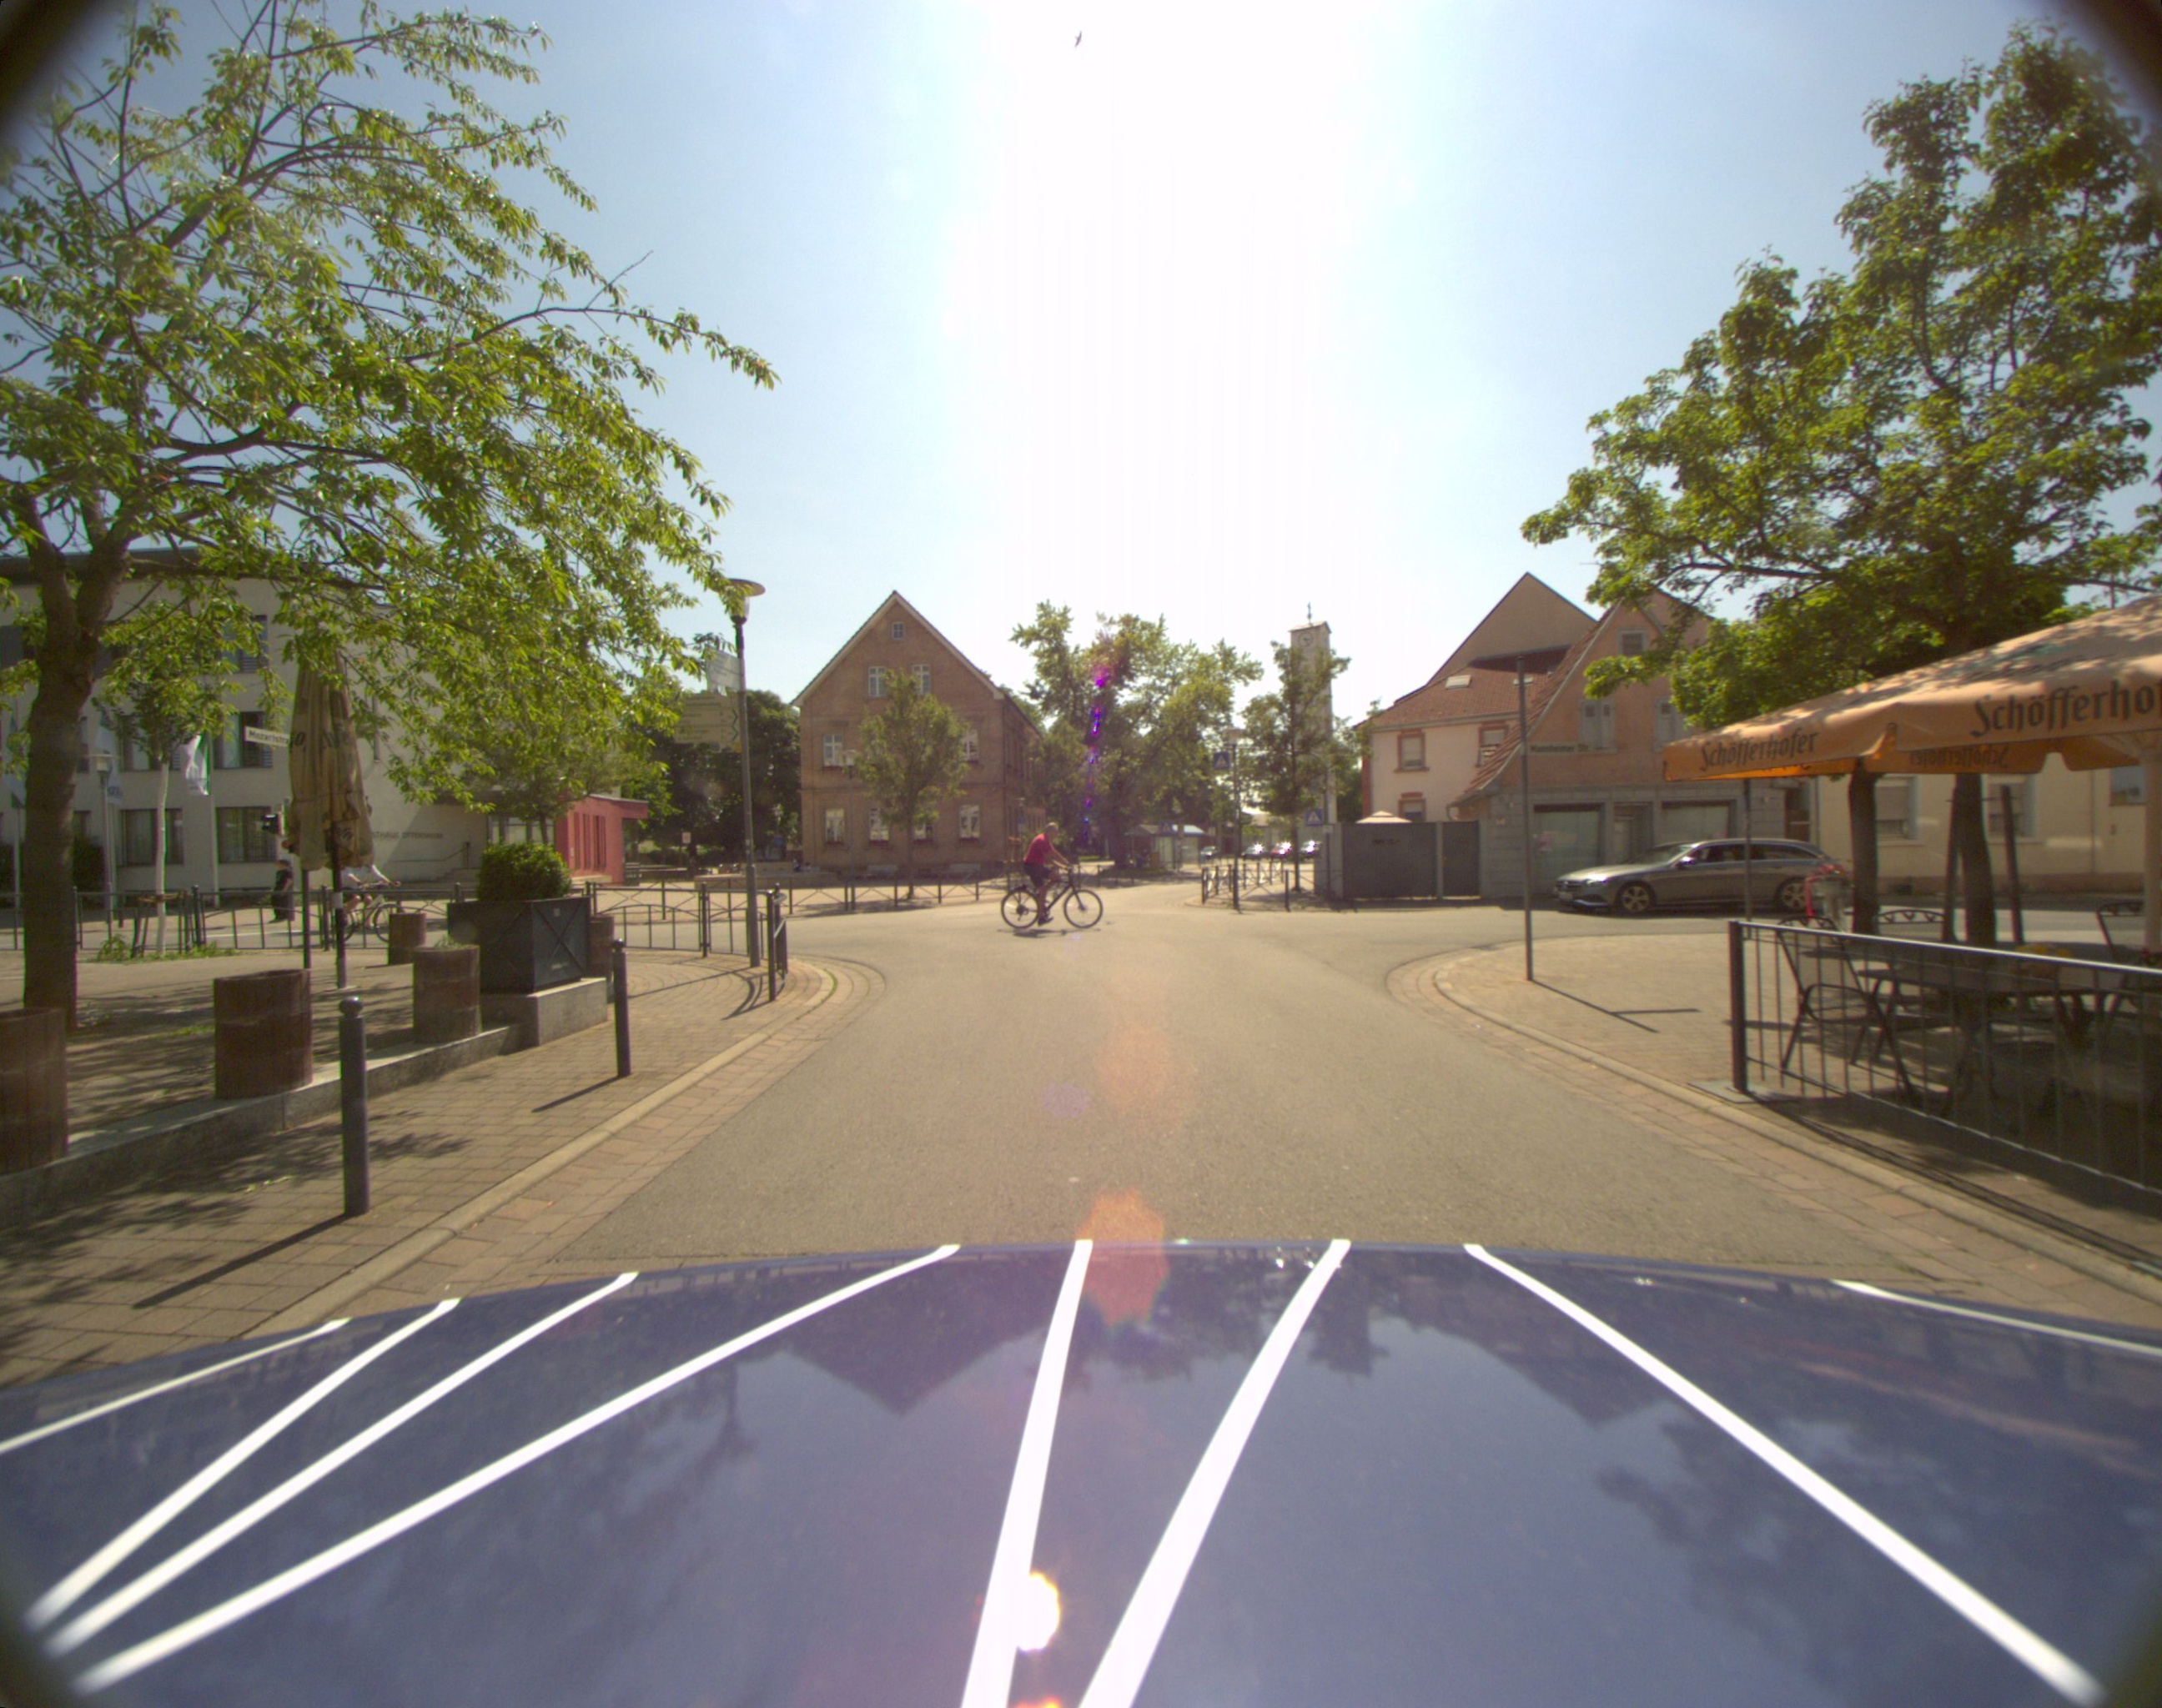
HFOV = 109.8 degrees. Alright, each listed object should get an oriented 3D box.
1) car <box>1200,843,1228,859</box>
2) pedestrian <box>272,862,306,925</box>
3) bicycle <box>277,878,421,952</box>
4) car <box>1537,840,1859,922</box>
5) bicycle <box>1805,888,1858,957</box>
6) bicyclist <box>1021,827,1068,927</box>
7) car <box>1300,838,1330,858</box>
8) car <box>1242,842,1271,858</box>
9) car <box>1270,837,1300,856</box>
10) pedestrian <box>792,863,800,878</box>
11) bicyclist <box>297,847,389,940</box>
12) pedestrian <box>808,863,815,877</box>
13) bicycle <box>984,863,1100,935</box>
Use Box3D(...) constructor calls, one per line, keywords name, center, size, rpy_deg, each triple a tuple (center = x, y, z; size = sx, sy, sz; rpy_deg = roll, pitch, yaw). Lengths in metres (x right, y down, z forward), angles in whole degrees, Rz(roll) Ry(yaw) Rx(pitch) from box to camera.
Box3D(name="car", center=(13.474, -0.310, 76.581), size=(1.995, 1.607, 4.006), rpy_deg=(-1, 1, 22))
Box3D(name="pedestrian", center=(-20.781, 1.015, 19.930), size=(0.555, 1.609, 0.551), rpy_deg=(1, 1, 39))
Box3D(name="bicycle", center=(-12.798, 1.059, 13.318), size=(1.798, 1.183, 0.690), rpy_deg=(-1, 3, 1))
Box3D(name="car", center=(12.352, 0.524, 15.516), size=(4.838, 1.473, 1.916), rpy_deg=(-1, 0, 5))
Box3D(name="bicycle", center=(10.742, 0.951, 10.901), size=(0.463, 0.891, 1.417), rpy_deg=(-2, -1, 42))
Box3D(name="bicyclist", center=(-0.626, 0.387, 13.329), size=(0.759, 1.707, 0.703), rpy_deg=(0, 2, 2))
Box3D(name="car", center=(22.191, -0.579, 72.081), size=(1.777, 1.783, 4.007), rpy_deg=(0, 1, 32))
Box3D(name="car", center=(17.219, -0.371, 74.551), size=(1.646, 1.459, 3.786), rpy_deg=(-1, 0, 31))
Box3D(name="car", center=(19.809, -0.714, 73.700), size=(1.777, 1.783, 4.008), rpy_deg=(-1, 0, 31))
Box3D(name="pedestrian", center=(-15.008, 0.863, 40.016), size=(0.367, 0.813, 0.361), rpy_deg=(-1, 0, -12))
Box3D(name="bicyclist", center=(-12.884, 0.666, 13.289), size=(0.877, 1.572, 0.703), rpy_deg=(0, 2, 2))
Box3D(name="pedestrian", center=(-14.189, 0.828, 40.066), size=(0.289, 0.728, 0.357), rpy_deg=(-1, 0, -12))
Box3D(name="bicycle", center=(-0.661, 0.775, 13.361), size=(1.969, 1.183, 0.738), rpy_deg=(-1, 3, 1))
